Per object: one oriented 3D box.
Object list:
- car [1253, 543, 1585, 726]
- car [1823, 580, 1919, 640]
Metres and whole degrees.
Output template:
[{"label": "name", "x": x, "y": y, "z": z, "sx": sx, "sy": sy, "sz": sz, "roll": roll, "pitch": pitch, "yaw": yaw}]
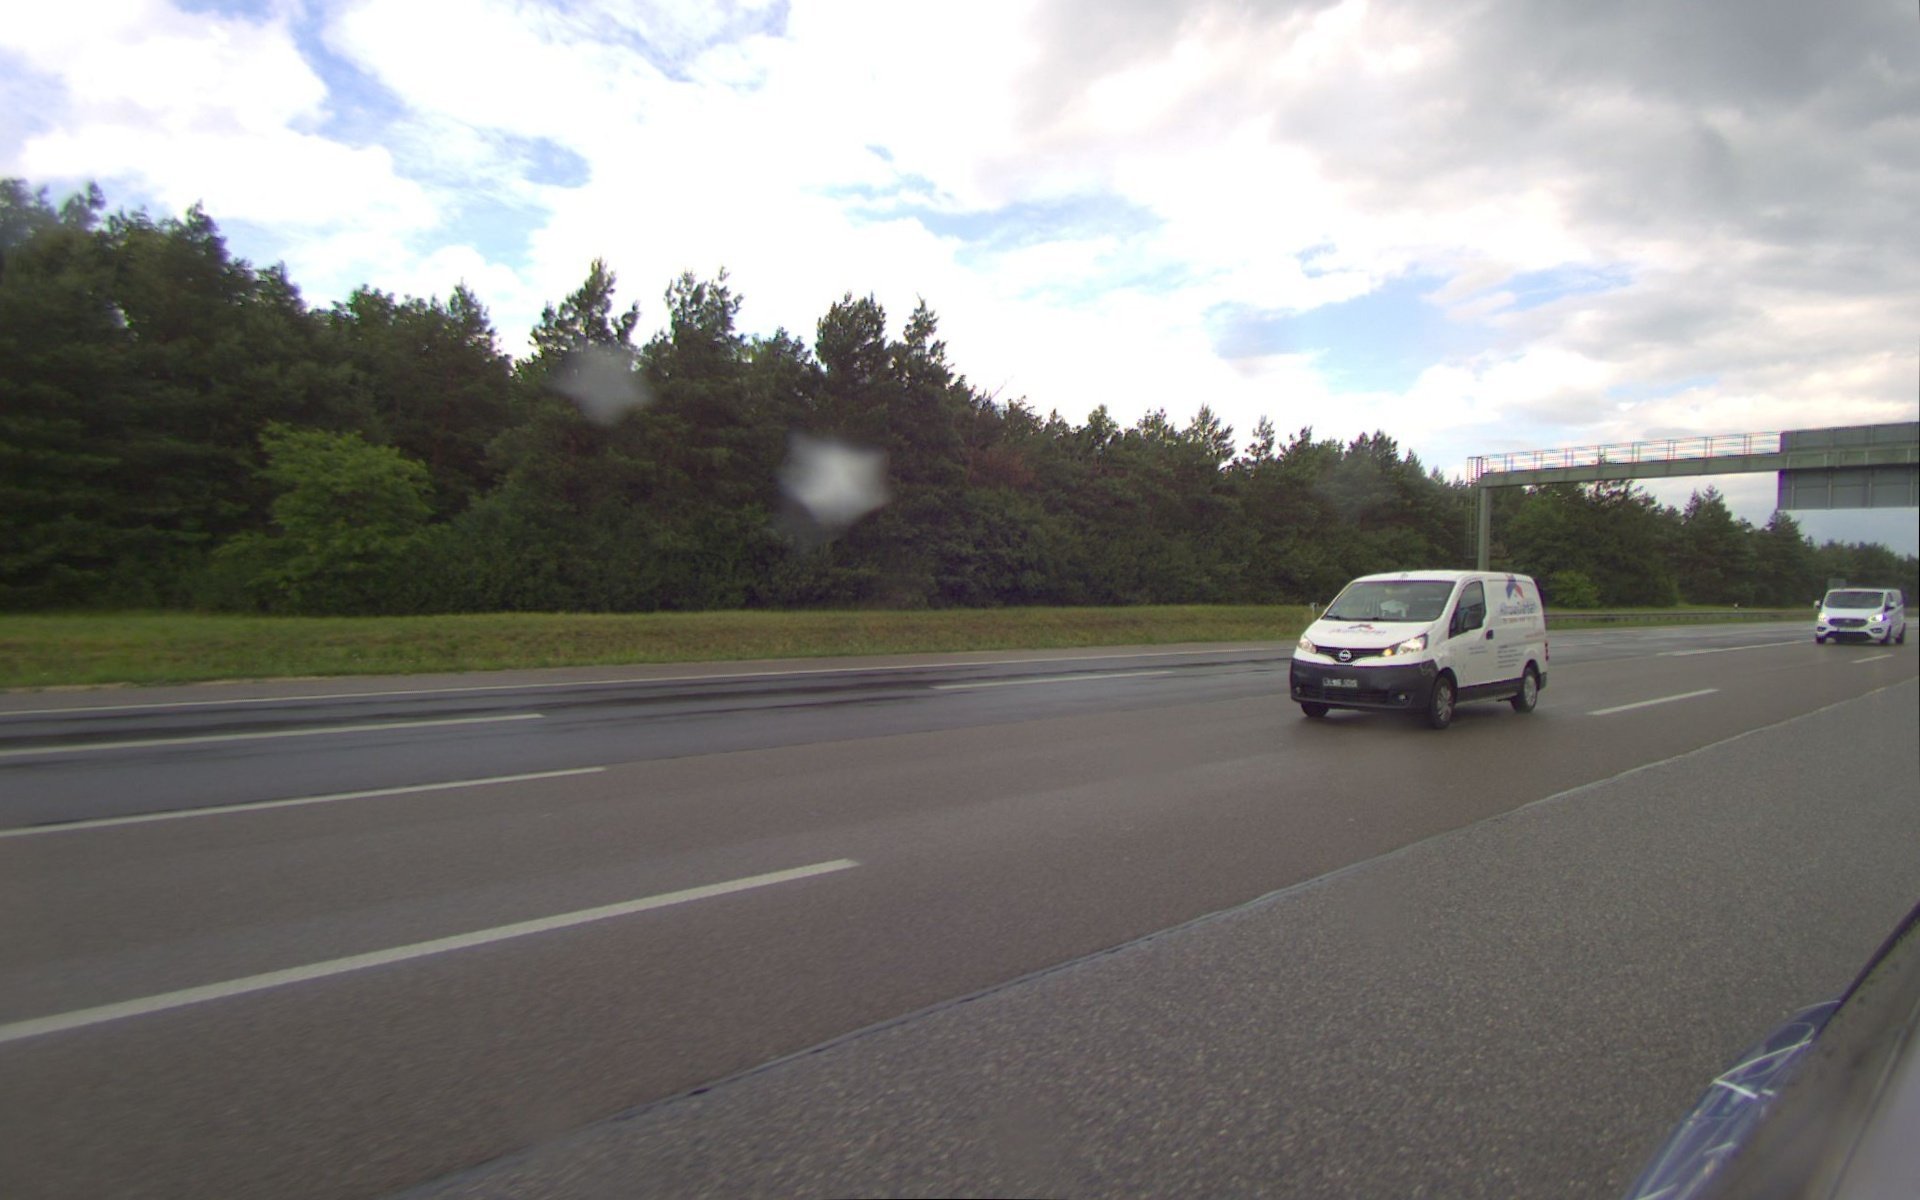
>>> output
[{"label": "car", "x": 5.993, "y": 0.344, "z": 12.946, "sx": 4.794, "sy": 1.925, "sz": 1.968, "roll": 0, "pitch": 1, "yaw": -40}, {"label": "car", "x": 33.219, "y": 0.340, "z": 36.596, "sx": 5.381, "sy": 2.039, "sz": 1.999, "roll": 0, "pitch": 0, "yaw": -38}]
